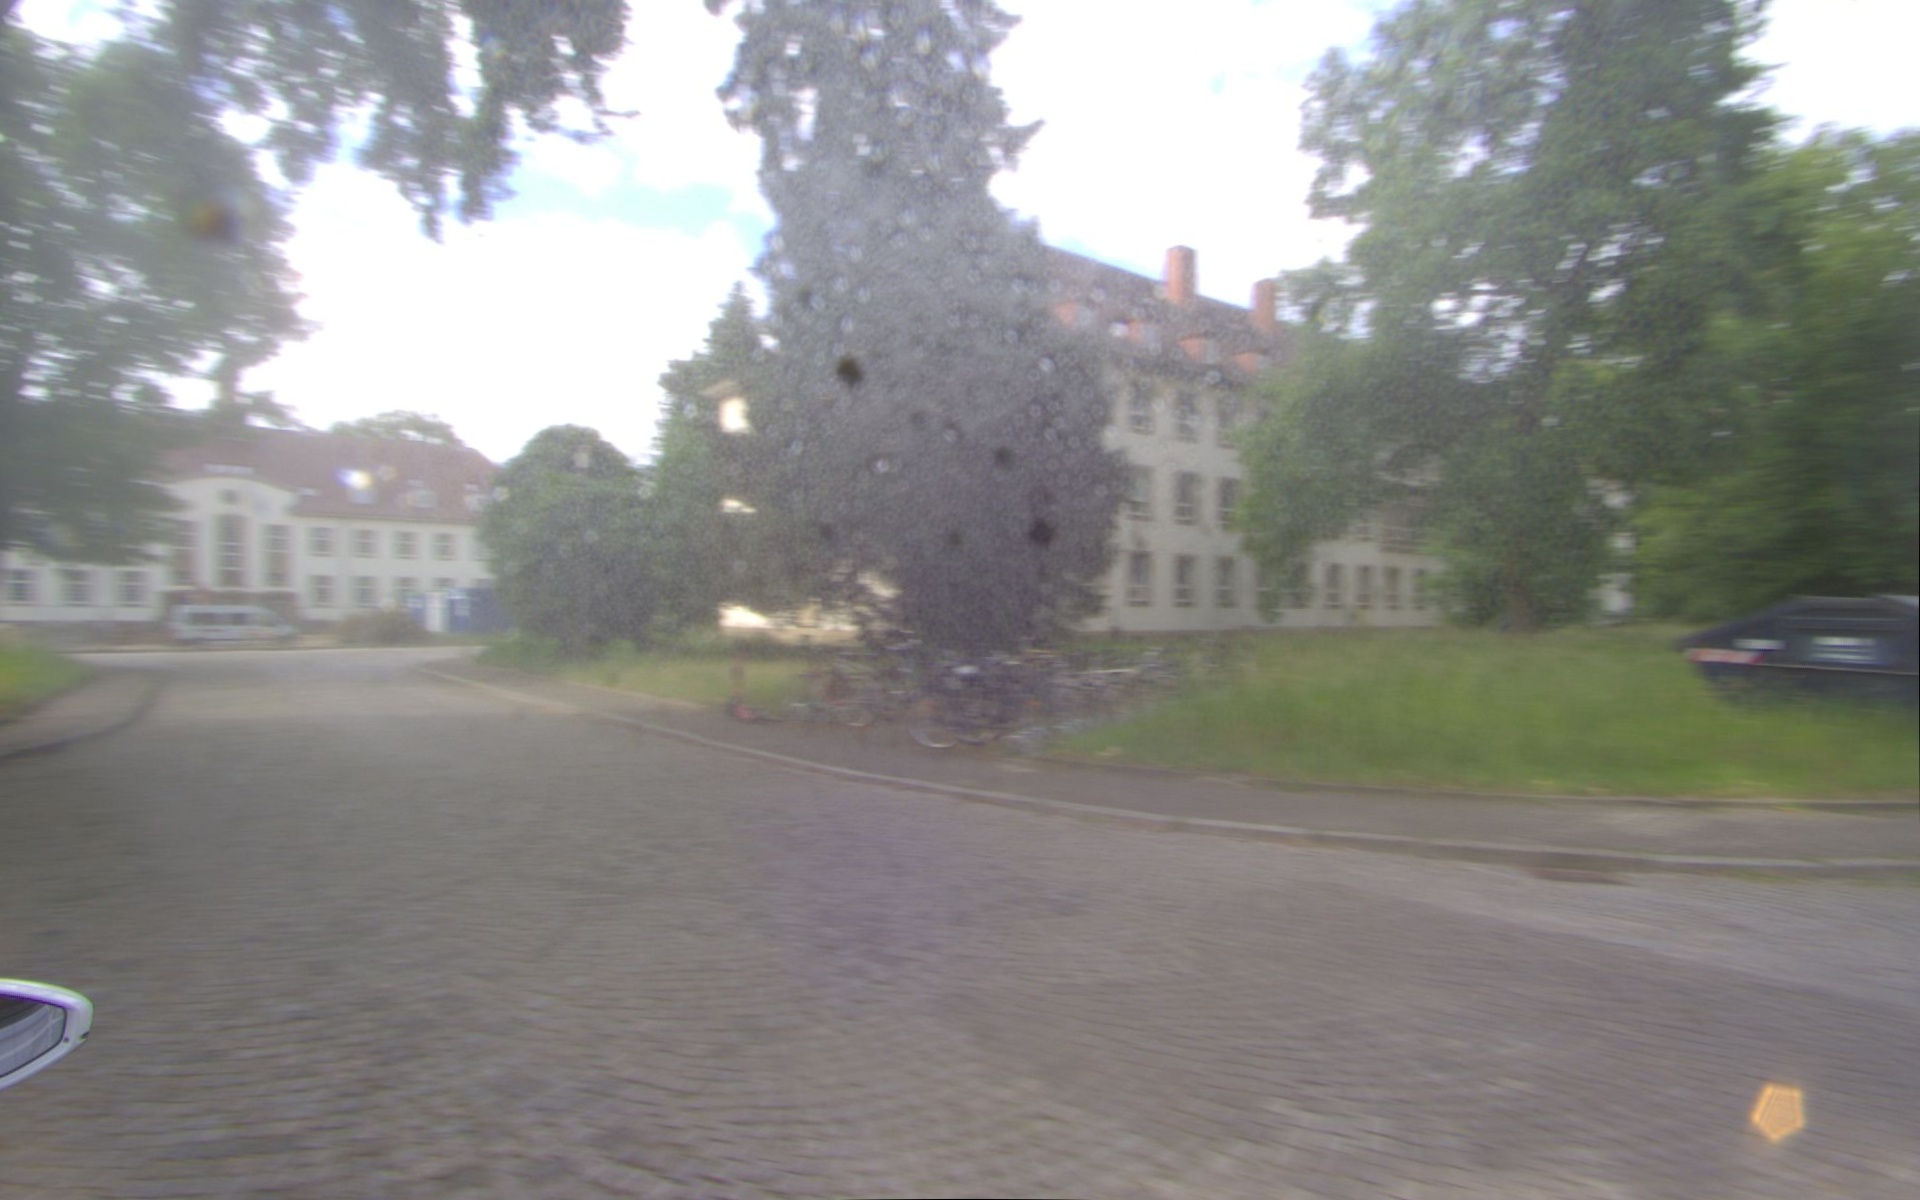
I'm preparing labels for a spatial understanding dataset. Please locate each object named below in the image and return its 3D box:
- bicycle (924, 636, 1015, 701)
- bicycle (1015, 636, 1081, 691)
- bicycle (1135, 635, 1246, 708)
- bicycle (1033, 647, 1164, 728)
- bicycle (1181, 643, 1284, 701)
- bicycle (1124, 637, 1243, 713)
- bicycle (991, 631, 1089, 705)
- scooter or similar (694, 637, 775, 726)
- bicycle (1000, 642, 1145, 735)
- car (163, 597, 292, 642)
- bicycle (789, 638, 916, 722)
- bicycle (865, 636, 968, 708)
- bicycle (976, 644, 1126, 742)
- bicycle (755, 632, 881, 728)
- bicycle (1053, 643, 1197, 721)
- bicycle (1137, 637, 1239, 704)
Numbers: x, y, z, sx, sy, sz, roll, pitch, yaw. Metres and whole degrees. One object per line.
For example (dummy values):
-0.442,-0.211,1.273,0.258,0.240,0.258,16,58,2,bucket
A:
0.161,1.181,17.500,1.491,1.050,0.543,0,2,23,bicycle
1.721,1.242,19.657,1.246,1.041,0.431,-1,-3,34,bicycle
3.762,1.152,16.419,1.679,1.131,0.538,-1,1,34,bicycle
1.897,1.176,13.832,1.673,1.015,0.628,-1,1,34,bicycle
4.656,1.220,17.131,1.599,0.923,0.523,-1,1,34,bicycle
3.535,1.169,15.921,1.752,1.120,0.538,-1,1,34,bicycle
1.398,1.170,17.582,1.618,1.202,0.572,0,2,27,bicycle
-3.362,1.176,14.849,0.673,1.210,1.543,-1,0,-34,scooter or similar
1.475,1.142,13.277,1.775,1.118,0.698,-1,1,34,bicycle
-39.229,1.074,53.737,5.467,2.237,2.109,2,2,-38,car
-1.640,1.171,15.131,1.964,1.129,0.640,0,2,34,bicycle
-0.719,1.154,16.365,1.602,1.088,0.538,0,2,23,bicycle
1.135,1.137,12.631,1.749,1.118,0.698,-1,1,34,bicycle
-2.086,1.126,14.584,1.875,1.240,0.640,1,2,34,bicycle
2.376,1.154,14.494,1.933,1.018,0.682,-1,1,34,bicycle
3.859,1.177,17.019,1.599,1.073,0.523,-1,1,34,bicycle
